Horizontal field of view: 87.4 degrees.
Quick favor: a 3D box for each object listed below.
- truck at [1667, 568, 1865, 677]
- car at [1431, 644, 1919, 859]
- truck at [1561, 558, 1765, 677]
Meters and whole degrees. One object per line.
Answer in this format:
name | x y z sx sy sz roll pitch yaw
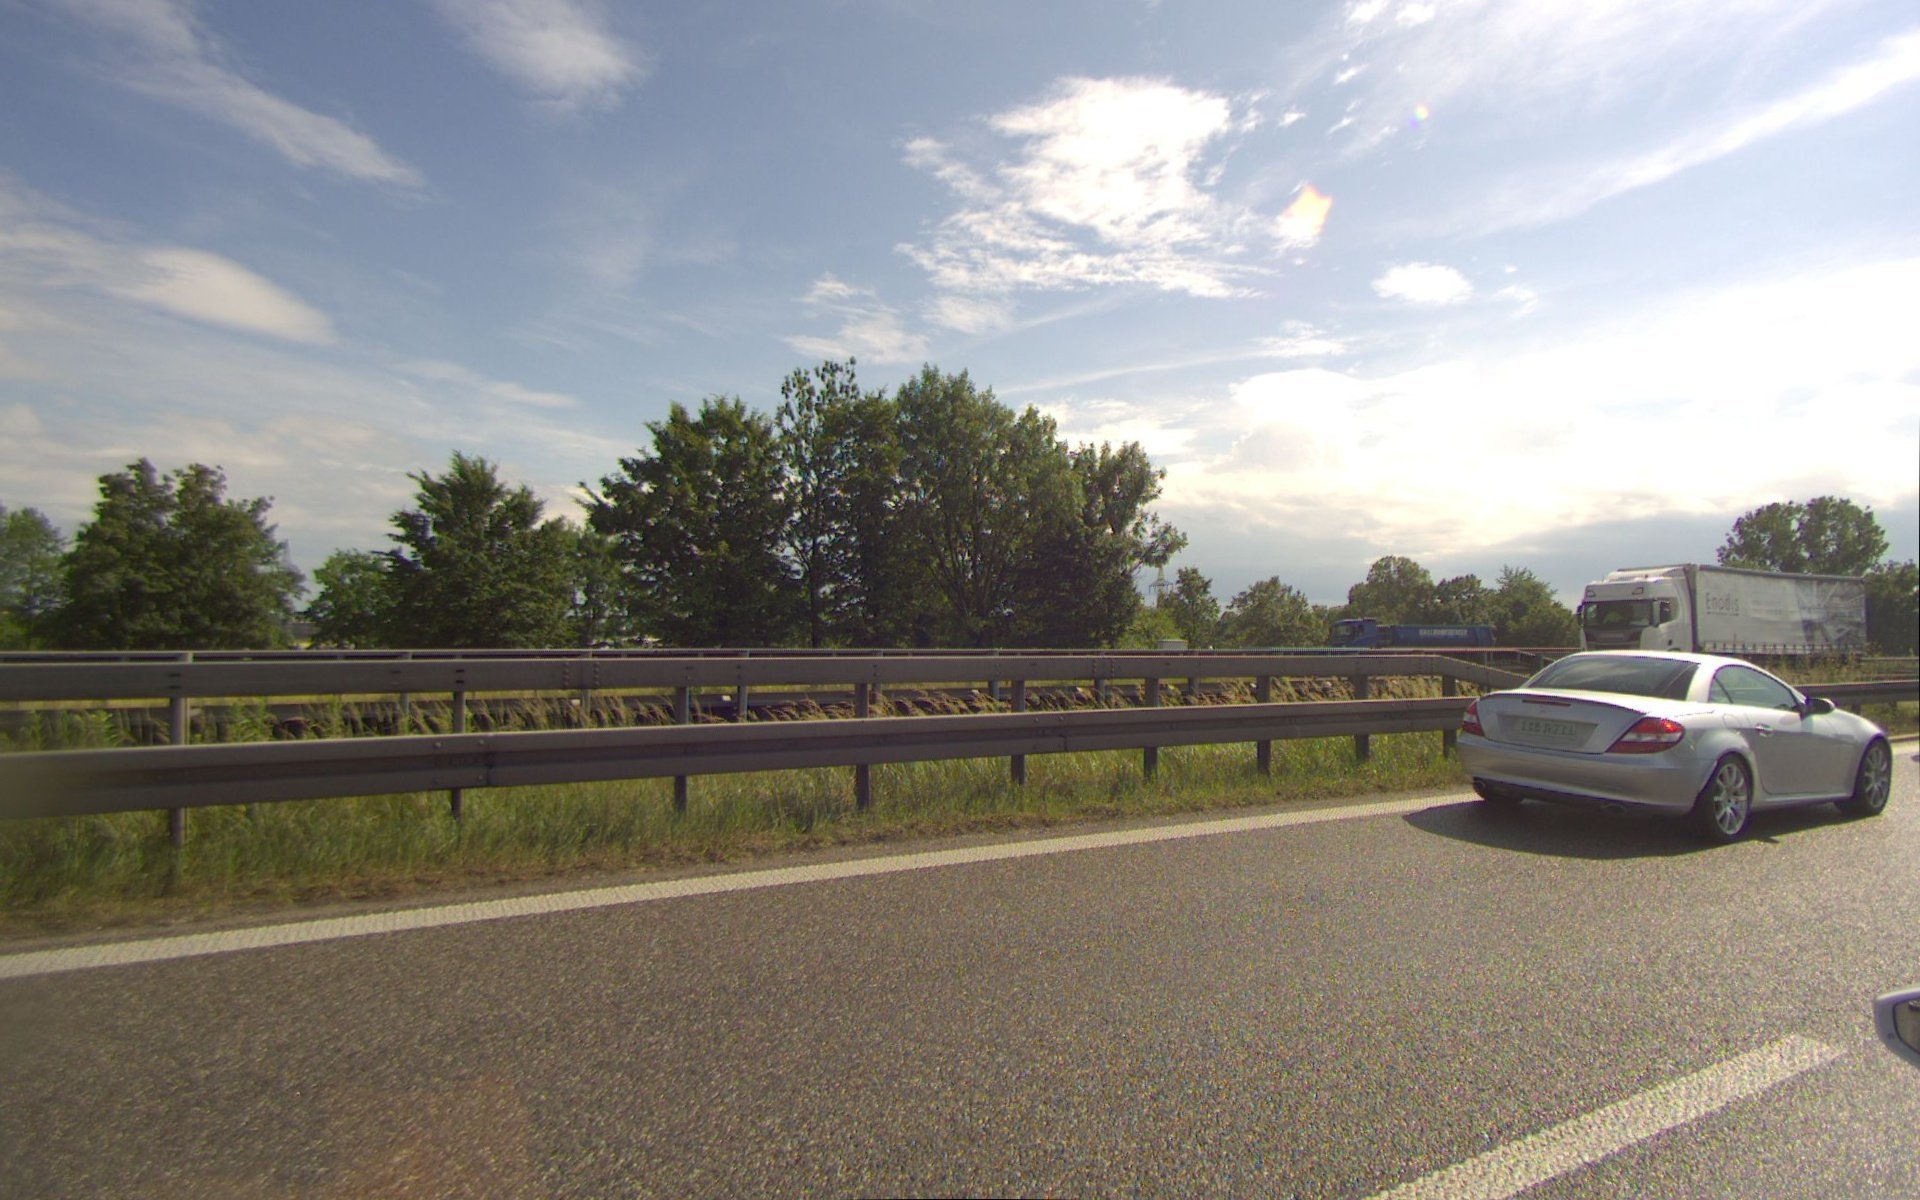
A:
truck | 32.121 0.989 39.885 9.309 3.903 2.836 3 -1 -29
car | 5.853 1.037 8.091 4.014 1.295 1.717 1 -1 -29
truck | 25.252 0.728 35.984 7.783 3.871 2.849 3 -1 -29
